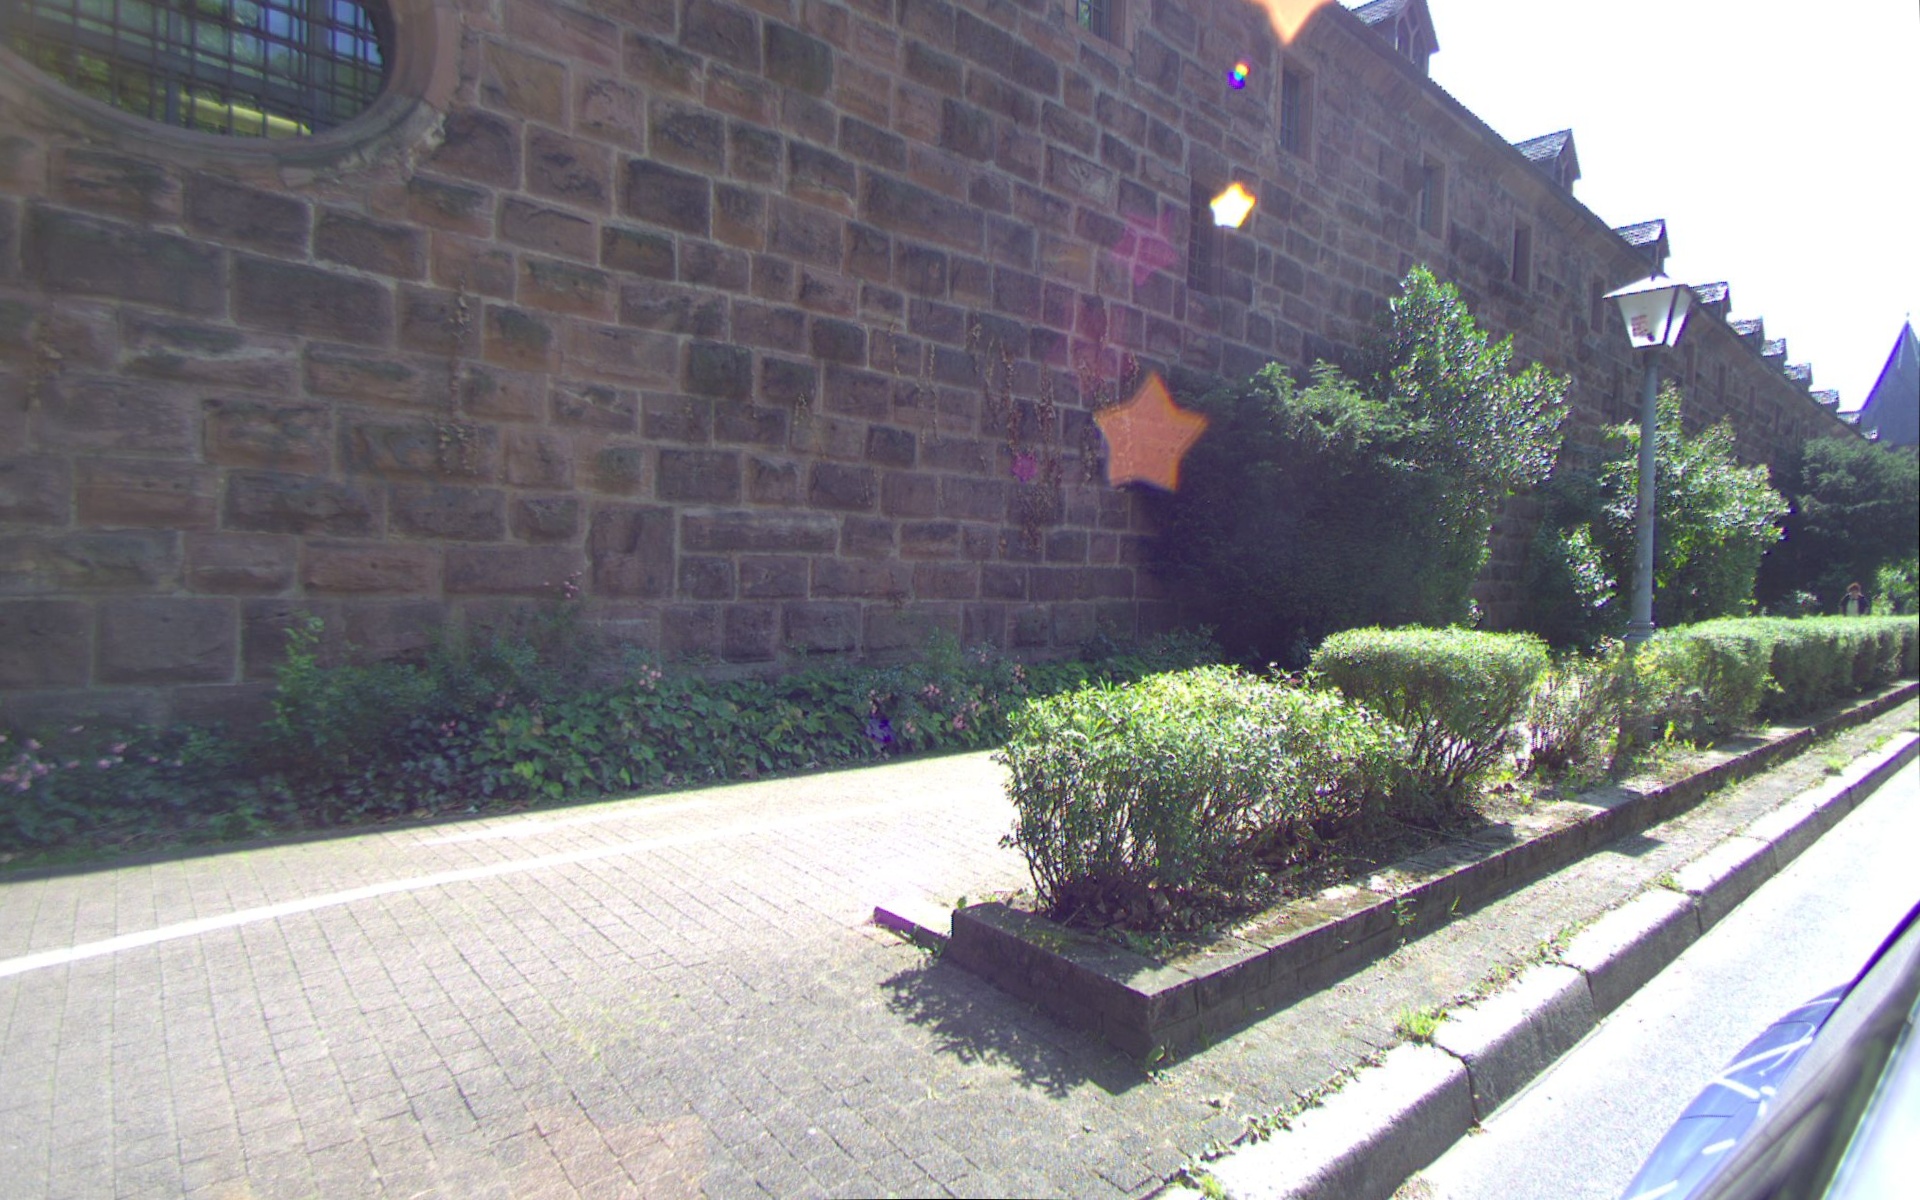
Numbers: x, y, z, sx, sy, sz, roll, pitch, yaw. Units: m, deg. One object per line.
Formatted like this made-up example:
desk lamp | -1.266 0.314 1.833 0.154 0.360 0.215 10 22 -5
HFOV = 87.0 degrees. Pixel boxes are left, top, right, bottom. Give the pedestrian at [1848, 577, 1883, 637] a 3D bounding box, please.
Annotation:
pedestrian | 24.291 0.192 27.143 0.554 1.583 0.642 0 0 -41
